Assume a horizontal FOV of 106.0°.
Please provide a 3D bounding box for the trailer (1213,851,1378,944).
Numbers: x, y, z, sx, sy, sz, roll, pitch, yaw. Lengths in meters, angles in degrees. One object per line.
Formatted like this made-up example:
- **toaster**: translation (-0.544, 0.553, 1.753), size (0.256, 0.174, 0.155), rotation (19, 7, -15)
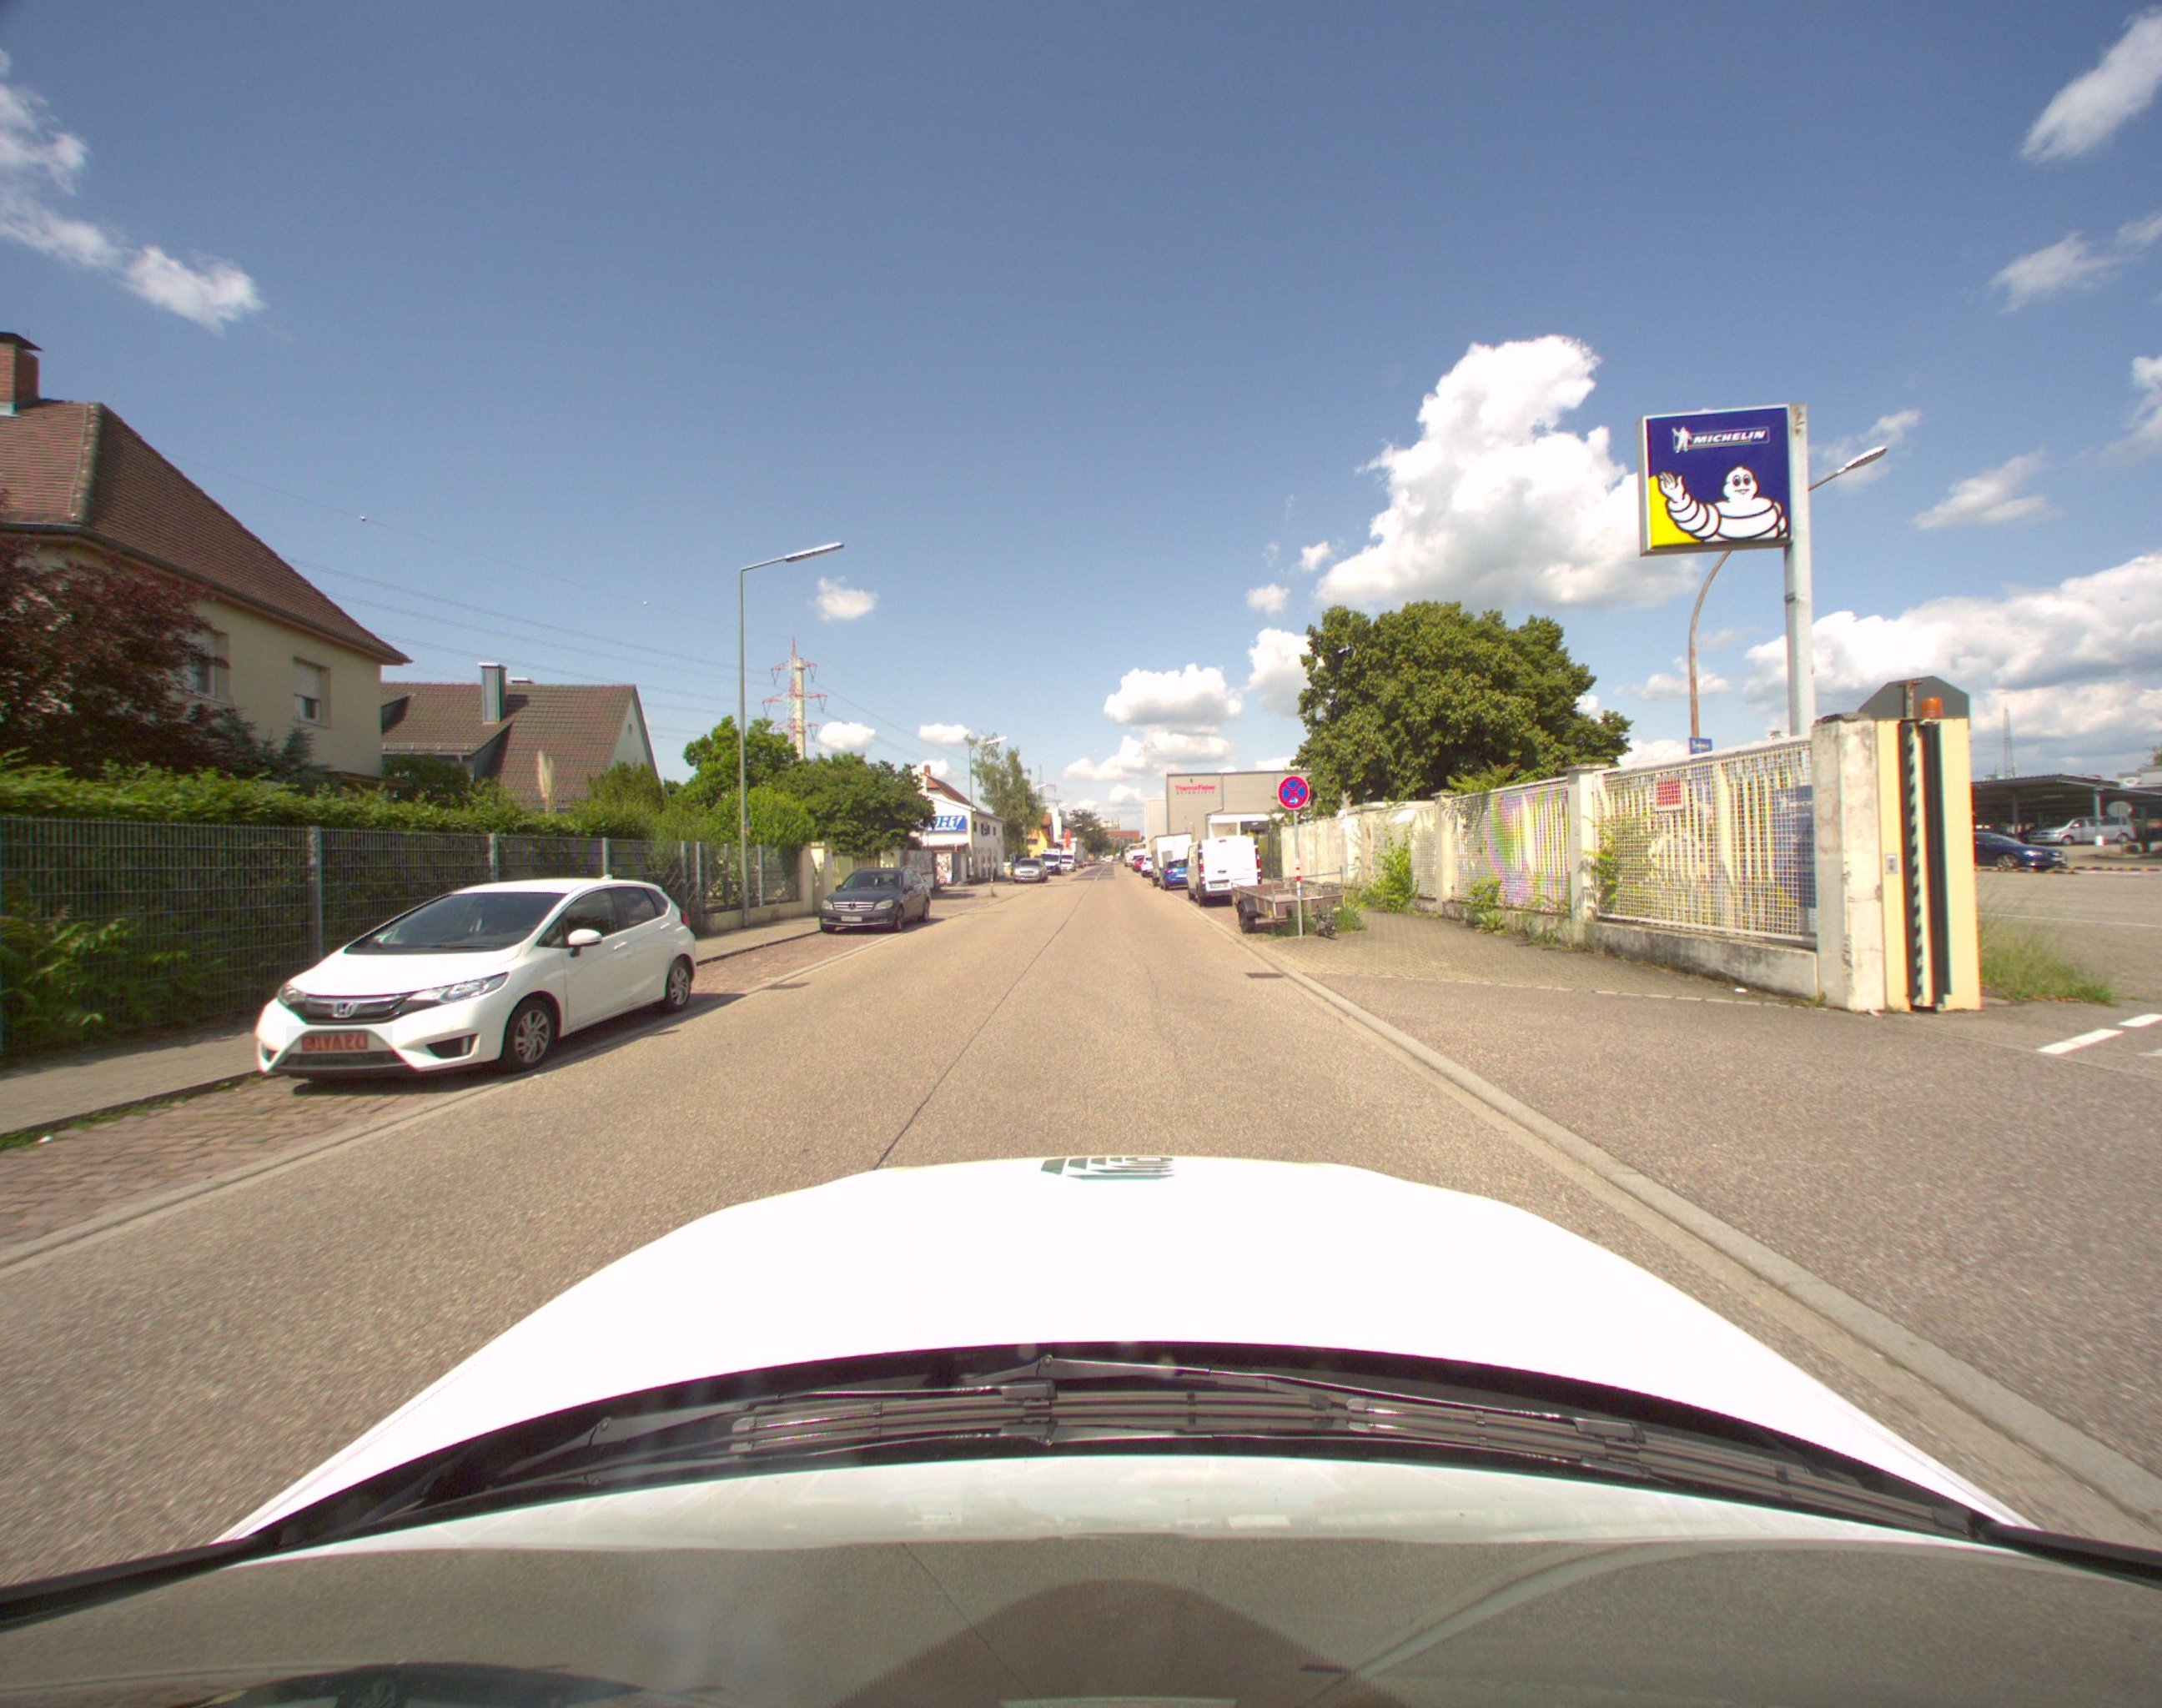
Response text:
- **trailer**: translation (3.965, 0.788, 15.912), size (1.745, 1.417, 4.544), rotation (-4, -1, -3)

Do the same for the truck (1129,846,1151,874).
- **truck**: translation (7.721, 0.833, 107.856), size (2.449, 3.293, 6.822), rotation (-6, -1, 3)

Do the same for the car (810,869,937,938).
- **car**: translation (-4.806, 1.083, 19.550), size (1.799, 1.419, 4.497), rotation (1, -1, 1)

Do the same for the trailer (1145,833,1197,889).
- **trailer**: translation (4.928, 0.433, 45.366), size (2.196, 2.737, 6.223), rotation (-4, -1, 2)

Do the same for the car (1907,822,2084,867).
- **car**: translation (34.133, -0.298, 30.564), size (1.828, 1.518, 4.029), rotation (0, -1, -12)

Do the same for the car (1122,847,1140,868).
- **car**: translation (8.540, 0.613, 138.907), size (2.381, 3.363, 6.642), rotation (-4, -1, -1)

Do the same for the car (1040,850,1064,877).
- **car**: translation (-2.793, 0.946, 79.416), size (2.023, 2.558, 6.656), rotation (1, -1, 1)

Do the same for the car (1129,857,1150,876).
- **car**: translation (6.480, 1.357, 90.355), size (2.045, 1.903, 5.151), rotation (-5, -1, 3)

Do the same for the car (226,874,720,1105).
- **car**: translation (-5.194, 0.999, 7.809), size (1.615, 1.522, 4.173), rotation (-1, -1, -1)

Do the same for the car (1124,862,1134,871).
- **car**: translation (8.915, 2.378, 151.458), size (1.760, 1.612, 3.876), rotation (-2, -1, 3)

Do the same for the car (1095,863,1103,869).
- **car**: translation (4.771, 3.208, 216.730), size (1.913, 1.794, 4.005), rotation (0, -1, 5)

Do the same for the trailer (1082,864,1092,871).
- **trailer**: translation (1.343, 2.942, 177.758), size (1.986, 1.557, 4.255), rotation (-1, -1, 2)

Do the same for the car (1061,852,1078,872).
- **car**: translation (-1.462, 1.094, 106.465), size (2.019, 2.561, 6.841), rotation (0, -1, 1)

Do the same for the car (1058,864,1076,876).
- **car**: translation (-1.679, 1.956, 99.132), size (1.788, 1.397, 4.505), rotation (0, -1, 3)

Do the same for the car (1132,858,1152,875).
- **car**: translation (6.224, 1.301, 83.073), size (1.698, 1.624, 4.093), rotation (-5, -1, 1)

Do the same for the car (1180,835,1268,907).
- **car**: translation (4.461, 0.532, 26.306), size (1.986, 2.014, 5.652), rotation (-2, -1, 2)

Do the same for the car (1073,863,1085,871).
- **car**: translation (-0.344, 2.194, 137.872), size (1.755, 1.447, 4.744), rotation (0, -1, 3)

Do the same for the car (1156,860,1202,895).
- **car**: translation (4.615, 1.091, 38.650), size (1.684, 1.461, 4.071), rotation (-4, -1, 1)

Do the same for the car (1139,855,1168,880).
- **car**: translation (5.657, 1.033, 63.747), size (1.928, 1.693, 4.682), rotation (-4, -1, 2)

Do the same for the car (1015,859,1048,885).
- **car**: translation (-3.397, 1.240, 56.641), size (1.784, 1.719, 4.753), rotation (1, -1, 2)

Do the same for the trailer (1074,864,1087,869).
- **trailer**: translation (-0.109, 2.488, 156.766), size (2.353, 0.893, 5.571), rotation (0, -1, 2)
